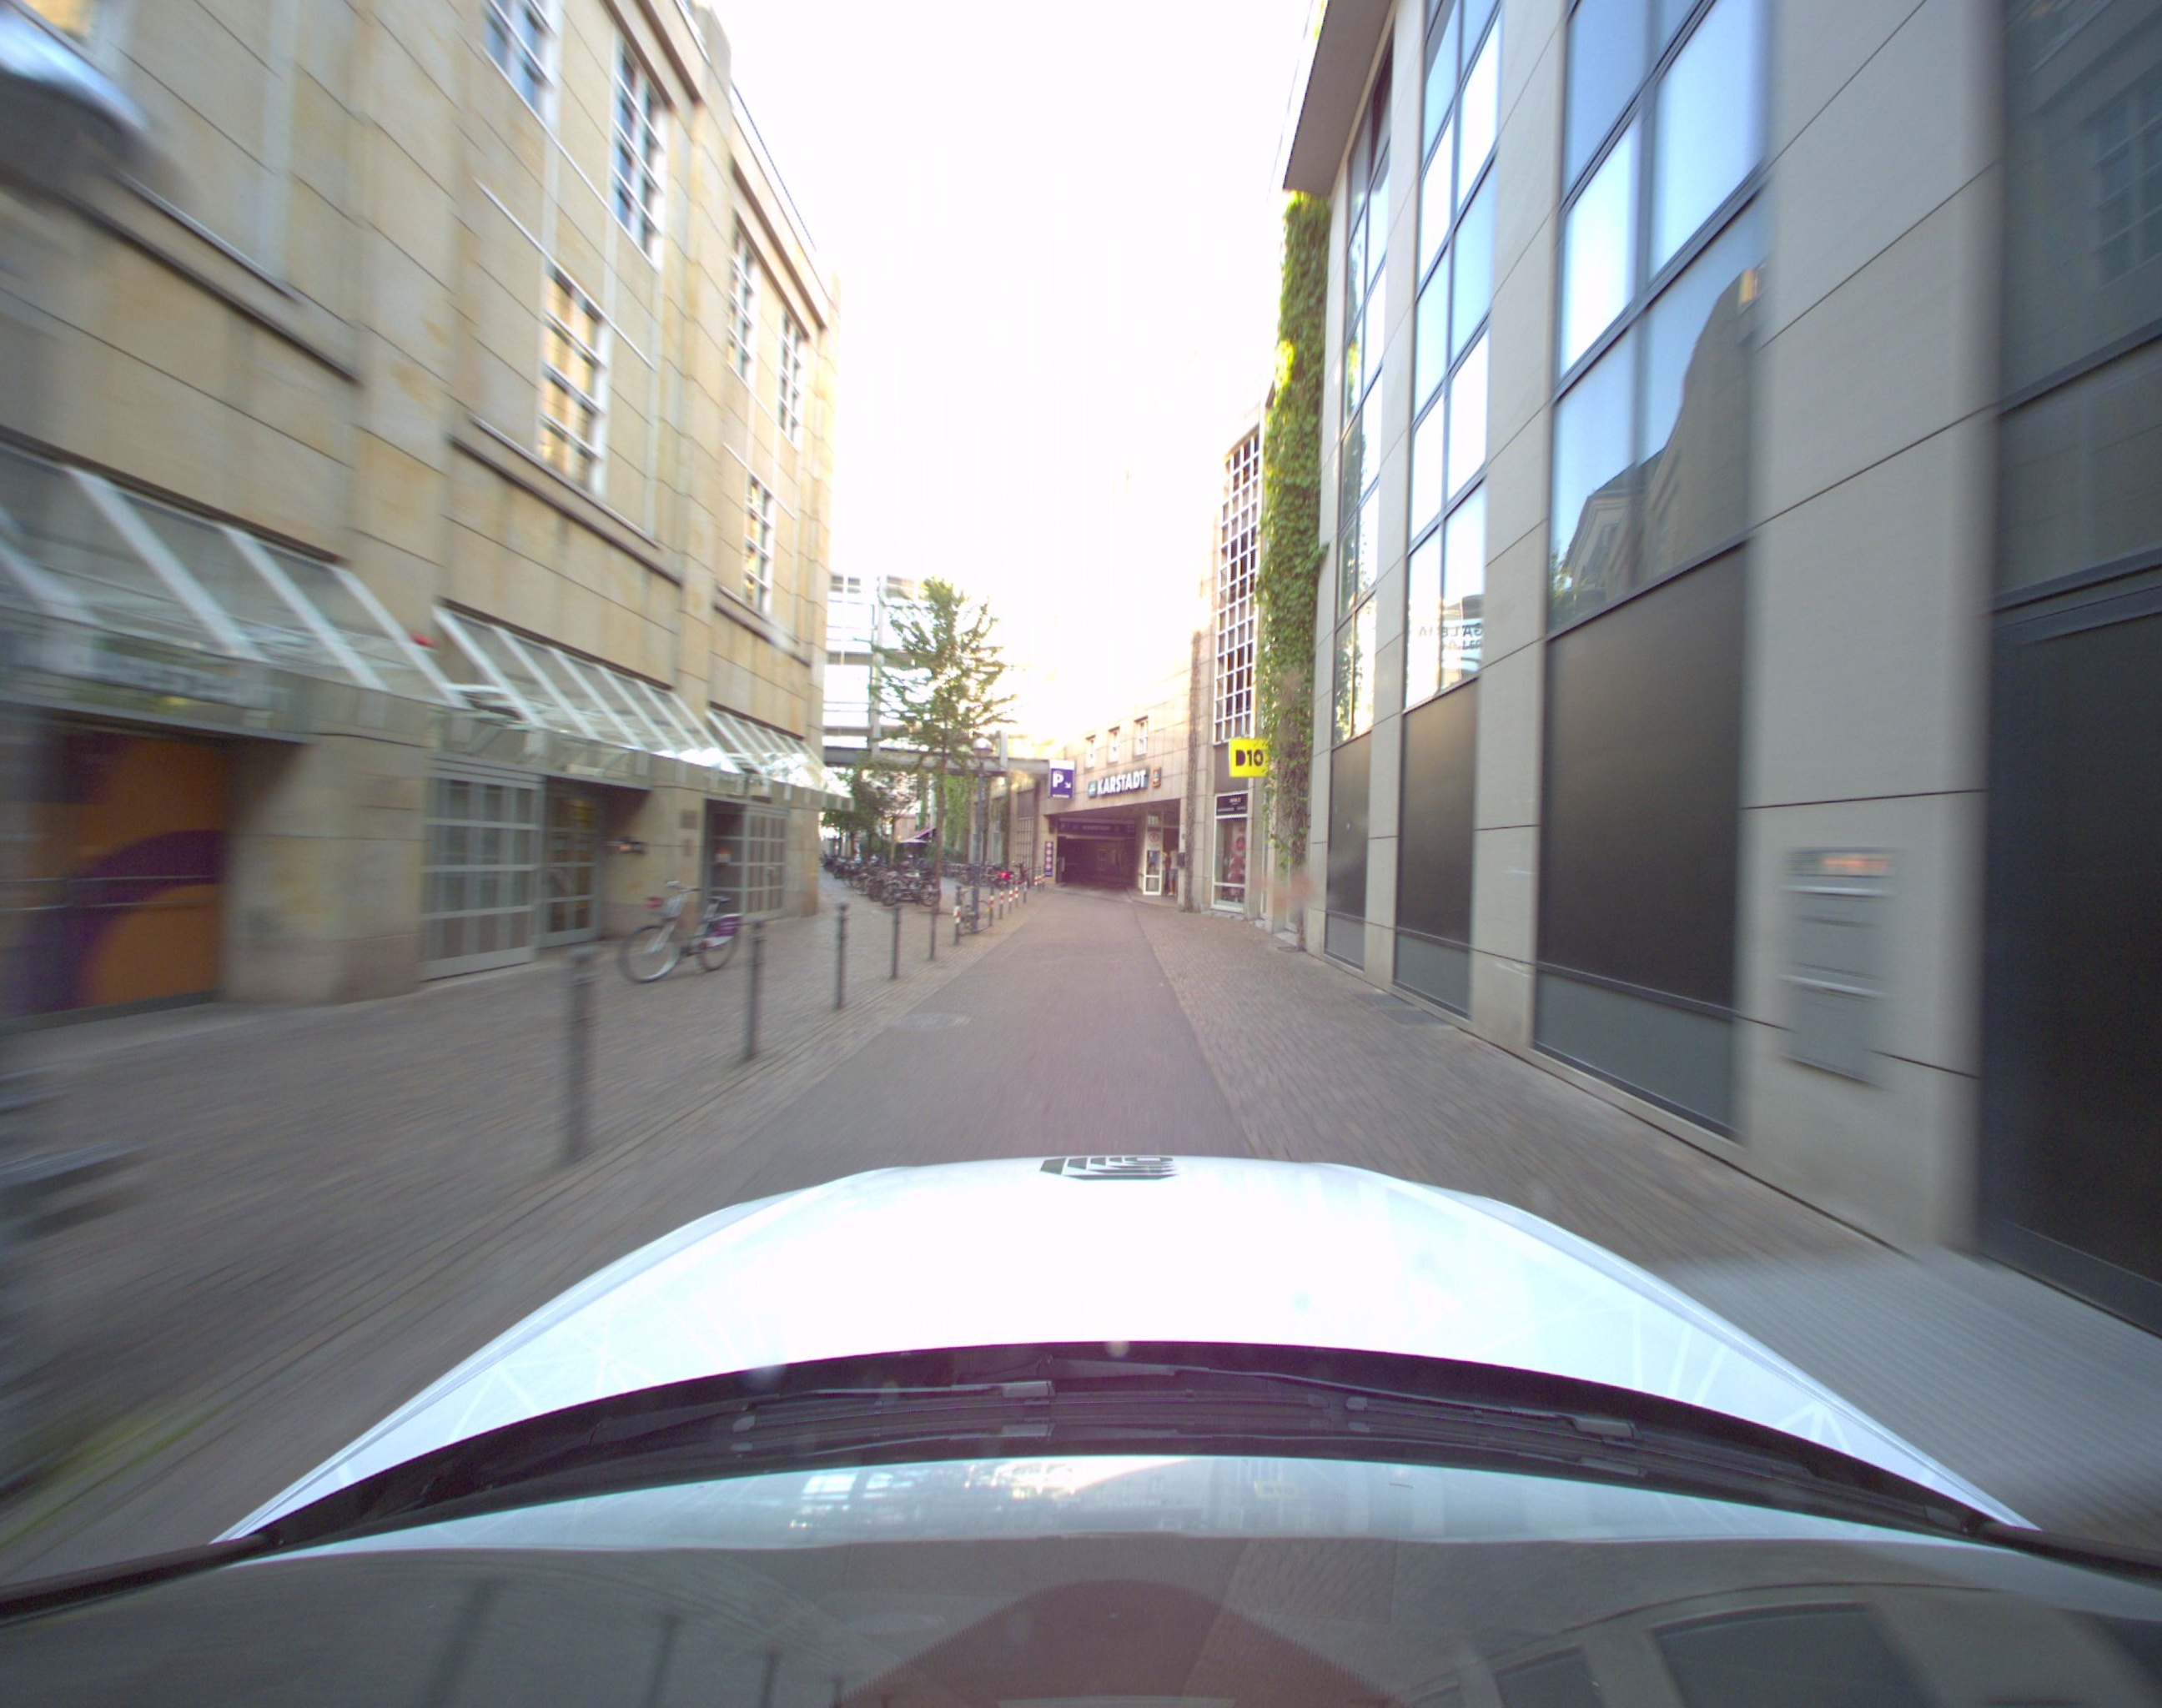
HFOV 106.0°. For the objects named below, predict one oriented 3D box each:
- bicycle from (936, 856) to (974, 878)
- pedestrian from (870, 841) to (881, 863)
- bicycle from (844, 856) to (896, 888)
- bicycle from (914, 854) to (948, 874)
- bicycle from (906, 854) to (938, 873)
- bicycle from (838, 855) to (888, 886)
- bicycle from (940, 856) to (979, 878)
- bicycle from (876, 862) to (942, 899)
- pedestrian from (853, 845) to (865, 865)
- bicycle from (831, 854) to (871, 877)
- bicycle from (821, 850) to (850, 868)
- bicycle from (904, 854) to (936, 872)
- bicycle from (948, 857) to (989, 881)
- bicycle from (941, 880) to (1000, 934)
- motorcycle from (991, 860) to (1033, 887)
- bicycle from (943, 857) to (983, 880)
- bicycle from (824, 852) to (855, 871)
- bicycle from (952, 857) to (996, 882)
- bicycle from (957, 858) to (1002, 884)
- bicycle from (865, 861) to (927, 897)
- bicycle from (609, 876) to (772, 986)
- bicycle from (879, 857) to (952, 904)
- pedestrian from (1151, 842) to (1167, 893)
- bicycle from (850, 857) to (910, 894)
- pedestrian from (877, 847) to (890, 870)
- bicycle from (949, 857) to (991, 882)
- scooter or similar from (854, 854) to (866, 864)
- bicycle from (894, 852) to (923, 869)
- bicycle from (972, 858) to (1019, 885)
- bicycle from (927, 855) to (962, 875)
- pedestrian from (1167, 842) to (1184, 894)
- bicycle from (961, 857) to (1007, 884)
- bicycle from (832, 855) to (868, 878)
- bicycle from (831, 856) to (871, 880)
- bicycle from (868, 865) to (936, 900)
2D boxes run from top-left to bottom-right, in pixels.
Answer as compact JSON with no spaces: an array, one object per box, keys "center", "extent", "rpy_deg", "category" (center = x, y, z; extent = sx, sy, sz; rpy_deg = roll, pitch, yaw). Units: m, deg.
[{"center":[-7.023,0.699,45.356],"extent":[1.999,1.182,0.690],"rpy_deg":[0,0,-18],"category":"bicycle"},{"center":[-16.929,-0.153,67.069],"extent":[0.767,1.804,0.772],"rpy_deg":[1,0,-20],"category":"pedestrian"},{"center":[-8.258,0.711,31.842],"extent":[1.916,1.182,0.692],"rpy_deg":[2,0,-16],"category":"bicycle"},{"center":[-9.118,0.620,49.570],"extent":[1.999,1.182,0.690],"rpy_deg":[0,0,-18],"category":"bicycle"},{"center":[-10.465,0.618,53.444],"extent":[1.999,1.182,0.690],"rpy_deg":[0,0,-18],"category":"bicycle"},{"center":[-8.789,0.675,32.894],"extent":[1.916,1.182,0.692],"rpy_deg":[2,0,-16],"category":"bicycle"},{"center":[-6.612,0.703,44.274],"extent":[1.999,1.182,0.690],"rpy_deg":[0,0,-18],"category":"bicycle"},{"center":[-5.324,0.811,25.267],"extent":[1.918,1.101,0.691],"rpy_deg":[2,0,-19],"category":"bicycle"},{"center":[-18.524,0.058,67.984],"extent":[0.894,1.639,0.905],"rpy_deg":[1,0,-20],"category":"pedestrian"},{"center":[-11.915,0.596,42.221],"extent":[1.916,1.182,0.692],"rpy_deg":[2,0,-16],"category":"bicycle"},{"center":[-17.146,0.353,56.930],"extent":[1.916,1.182,0.692],"rpy_deg":[2,0,-16],"category":"bicycle"},{"center":[-10.713,0.598,54.259],"extent":[1.999,1.182,0.690],"rpy_deg":[0,0,-18],"category":"bicycle"},{"center":[-5.833,0.774,42.140],"extent":[1.999,1.182,0.690],"rpy_deg":[0,0,-18],"category":"bicycle"},{"center":[-2.217,1.049,16.528],"extent":[0.501,0.966,1.702],"rpy_deg":[1,0,17],"category":"bicycle"},{"center":[-2.962,0.824,35.095],"extent":[1.749,1.155,0.591],"rpy_deg":[0,0,-16],"category":"motorcycle"},{"center":[-6.230,0.733,43.030],"extent":[1.999,1.182,0.690],"rpy_deg":[0,0,-18],"category":"bicycle"},{"center":[-15.674,0.459,52.928],"extent":[1.916,1.182,0.692],"rpy_deg":[2,0,-16],"category":"bicycle"},{"center":[-5.214,0.758,39.686],"extent":[1.999,1.182,0.798],"rpy_deg":[0,0,-18],"category":"bicycle"},{"center":[-4.798,0.801,38.544],"extent":[1.999,1.182,0.798],"rpy_deg":[0,0,-18],"category":"bicycle"},{"center":[-6.019,0.803,26.466],"extent":[1.916,1.101,0.692],"rpy_deg":[2,0,-16],"category":"bicycle"},{"center":[-4.538,0.844,9.629],"extent":[0.688,1.112,1.784],"rpy_deg":[1,0,17],"category":"bicycle"},{"center":[-4.659,0.750,22.922],"extent":[1.918,1.261,0.803],"rpy_deg":[2,0,-19],"category":"bicycle"},{"center":[2.847,0.478,29.707],"extent":[0.539,1.846,0.409],"rpy_deg":[2,1,8],"category":"pedestrian"},{"center":[-6.755,0.733,27.381],"extent":[1.916,1.182,0.692],"rpy_deg":[2,0,-16],"category":"bicycle"},{"center":[-13.225,0.270,54.488],"extent":[0.750,1.509,0.633],"rpy_deg":[1,0,-20],"category":"pedestrian"},{"center":[-5.605,0.772,41.148],"extent":[1.999,1.182,0.798],"rpy_deg":[0,0,-18],"category":"bicycle"},{"center":[-18.226,0.408,67.120],"extent":[0.894,0.843,0.905],"rpy_deg":[1,0,-20],"category":"scooter or similar"},{"center":[-12.454,0.476,58.781],"extent":[1.999,1.182,0.690],"rpy_deg":[0,0,-18],"category":"bicycle"},{"center":[-3.874,0.781,36.787],"extent":[1.999,1.182,0.692],"rpy_deg":[0,0,-18],"category":"bicycle"},{"center":[-8.001,0.633,47.734],"extent":[1.999,1.182,0.690],"rpy_deg":[0,0,-18],"category":"bicycle"},{"center":[3.426,0.499,29.460],"extent":[0.539,1.861,0.409],"rpy_deg":[2,1,8],"category":"pedestrian"},{"center":[-4.477,0.750,37.622],"extent":[1.999,1.182,0.692],"rpy_deg":[0,0,-18],"category":"bicycle"},{"center":[-12.756,0.686,45.007],"extent":[1.916,1.182,0.692],"rpy_deg":[2,0,-16],"category":"bicycle"},{"center":[-11.671,0.702,41.341],"extent":[1.916,1.182,0.692],"rpy_deg":[2,0,-16],"category":"bicycle"},{"center":[-5.356,0.857,24.348],"extent":[1.918,0.994,0.691],"rpy_deg":[2,0,-19],"category":"bicycle"}]
